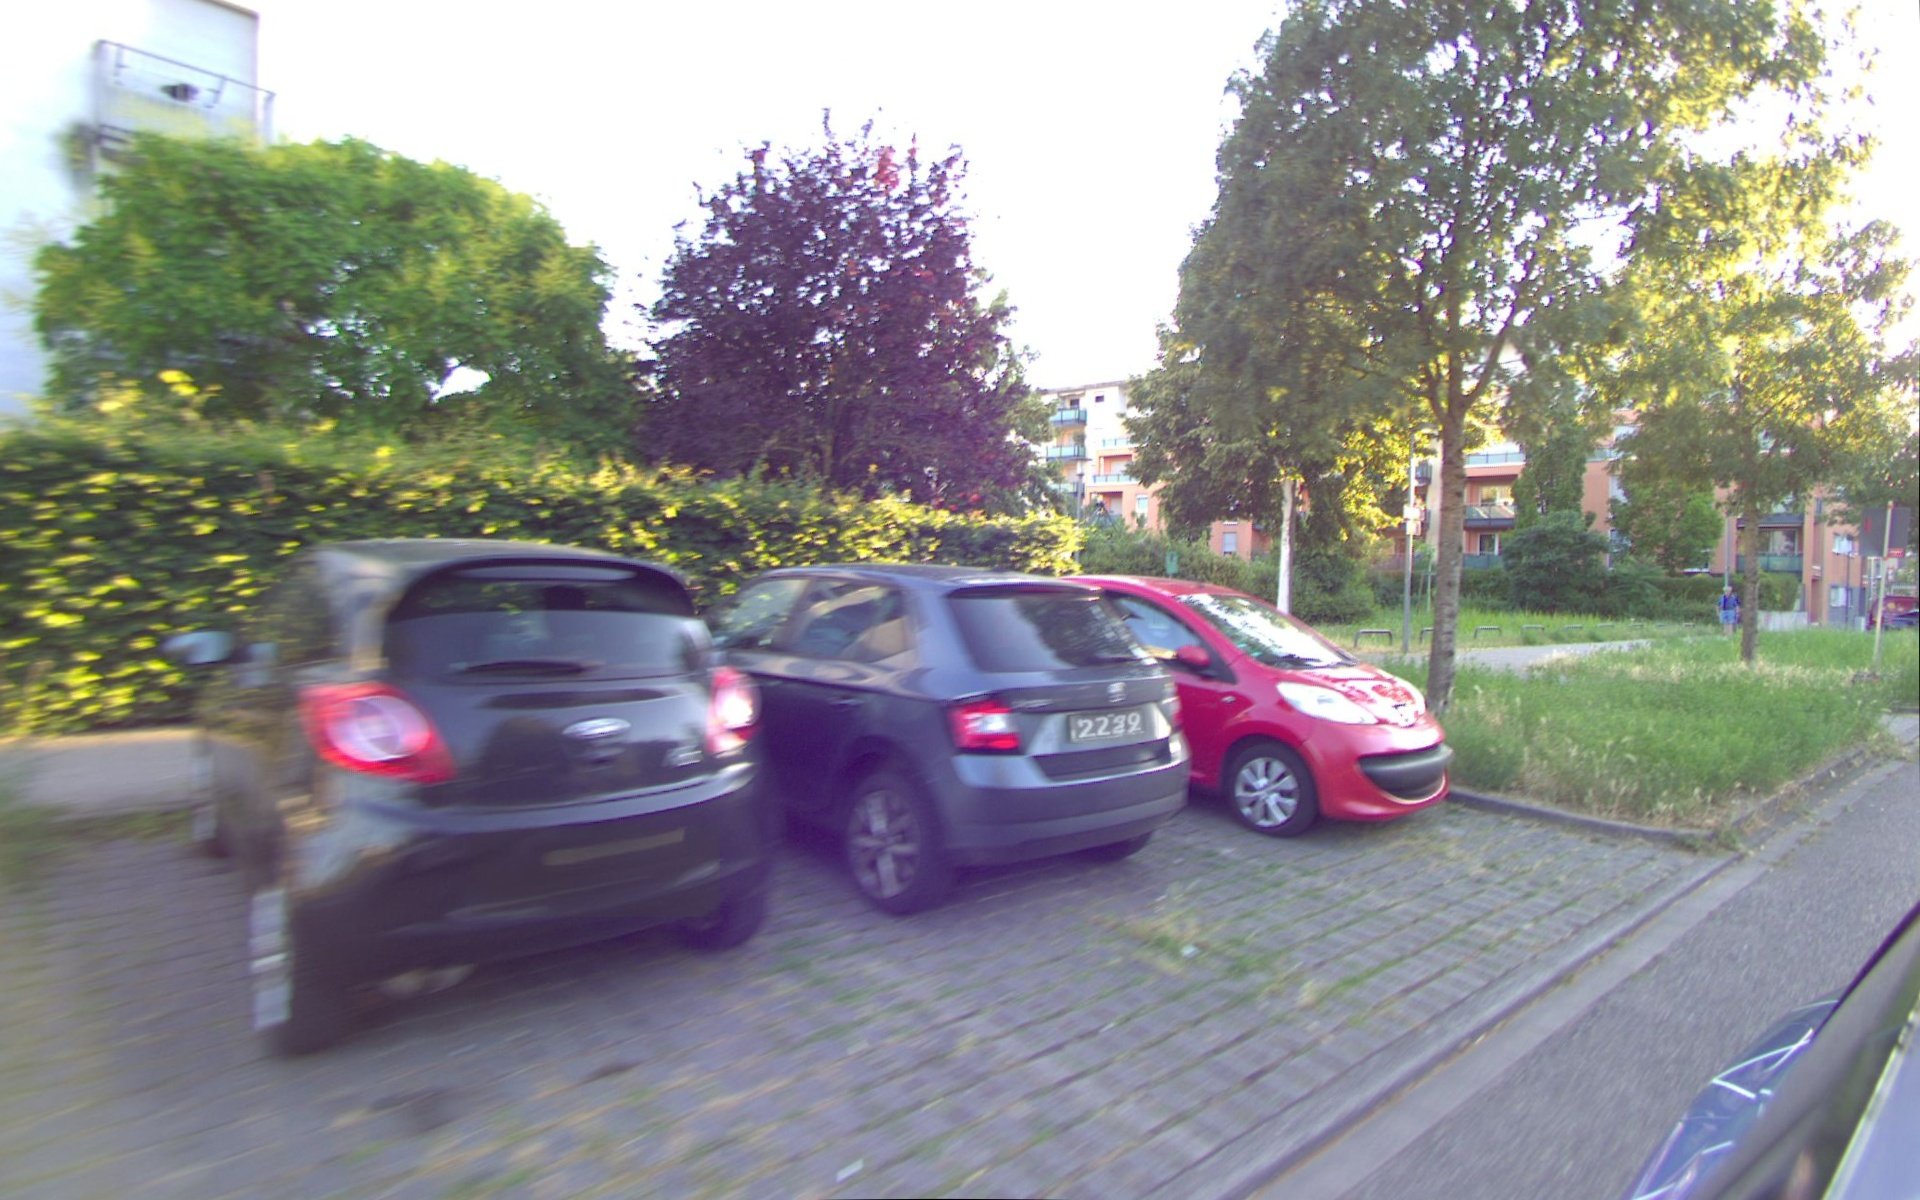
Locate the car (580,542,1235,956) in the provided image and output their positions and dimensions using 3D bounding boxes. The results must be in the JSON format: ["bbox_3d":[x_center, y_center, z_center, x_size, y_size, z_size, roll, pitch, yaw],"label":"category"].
[{"bbox_3d":[-0.575,0.500,5.709,1.650,1.527,3.808,1,1,-42],"label":"car"}]

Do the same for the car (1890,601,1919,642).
[{"bbox_3d":[39.374,0.898,39.237,1.779,1.576,4.680,1,1,-39],"label":"car"}]

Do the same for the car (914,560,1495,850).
[{"bbox_3d":[1.521,0.505,7.321,1.650,1.527,3.808,1,1,-42],"label":"car"}]

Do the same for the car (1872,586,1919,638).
[{"bbox_3d":[41.202,0.540,41.848,1.980,2.143,4.932,1,1,-39],"label":"car"}]

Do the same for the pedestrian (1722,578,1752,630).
[{"bbox_3d":[26.780,0.142,34.870,0.687,1.765,0.670,1,0,-41],"label":"pedestrian"}]

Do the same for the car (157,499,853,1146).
[{"bbox_3d":[-2.258,0.466,4.362,1.650,1.527,3.808,0,2,-42],"label":"car"}]
